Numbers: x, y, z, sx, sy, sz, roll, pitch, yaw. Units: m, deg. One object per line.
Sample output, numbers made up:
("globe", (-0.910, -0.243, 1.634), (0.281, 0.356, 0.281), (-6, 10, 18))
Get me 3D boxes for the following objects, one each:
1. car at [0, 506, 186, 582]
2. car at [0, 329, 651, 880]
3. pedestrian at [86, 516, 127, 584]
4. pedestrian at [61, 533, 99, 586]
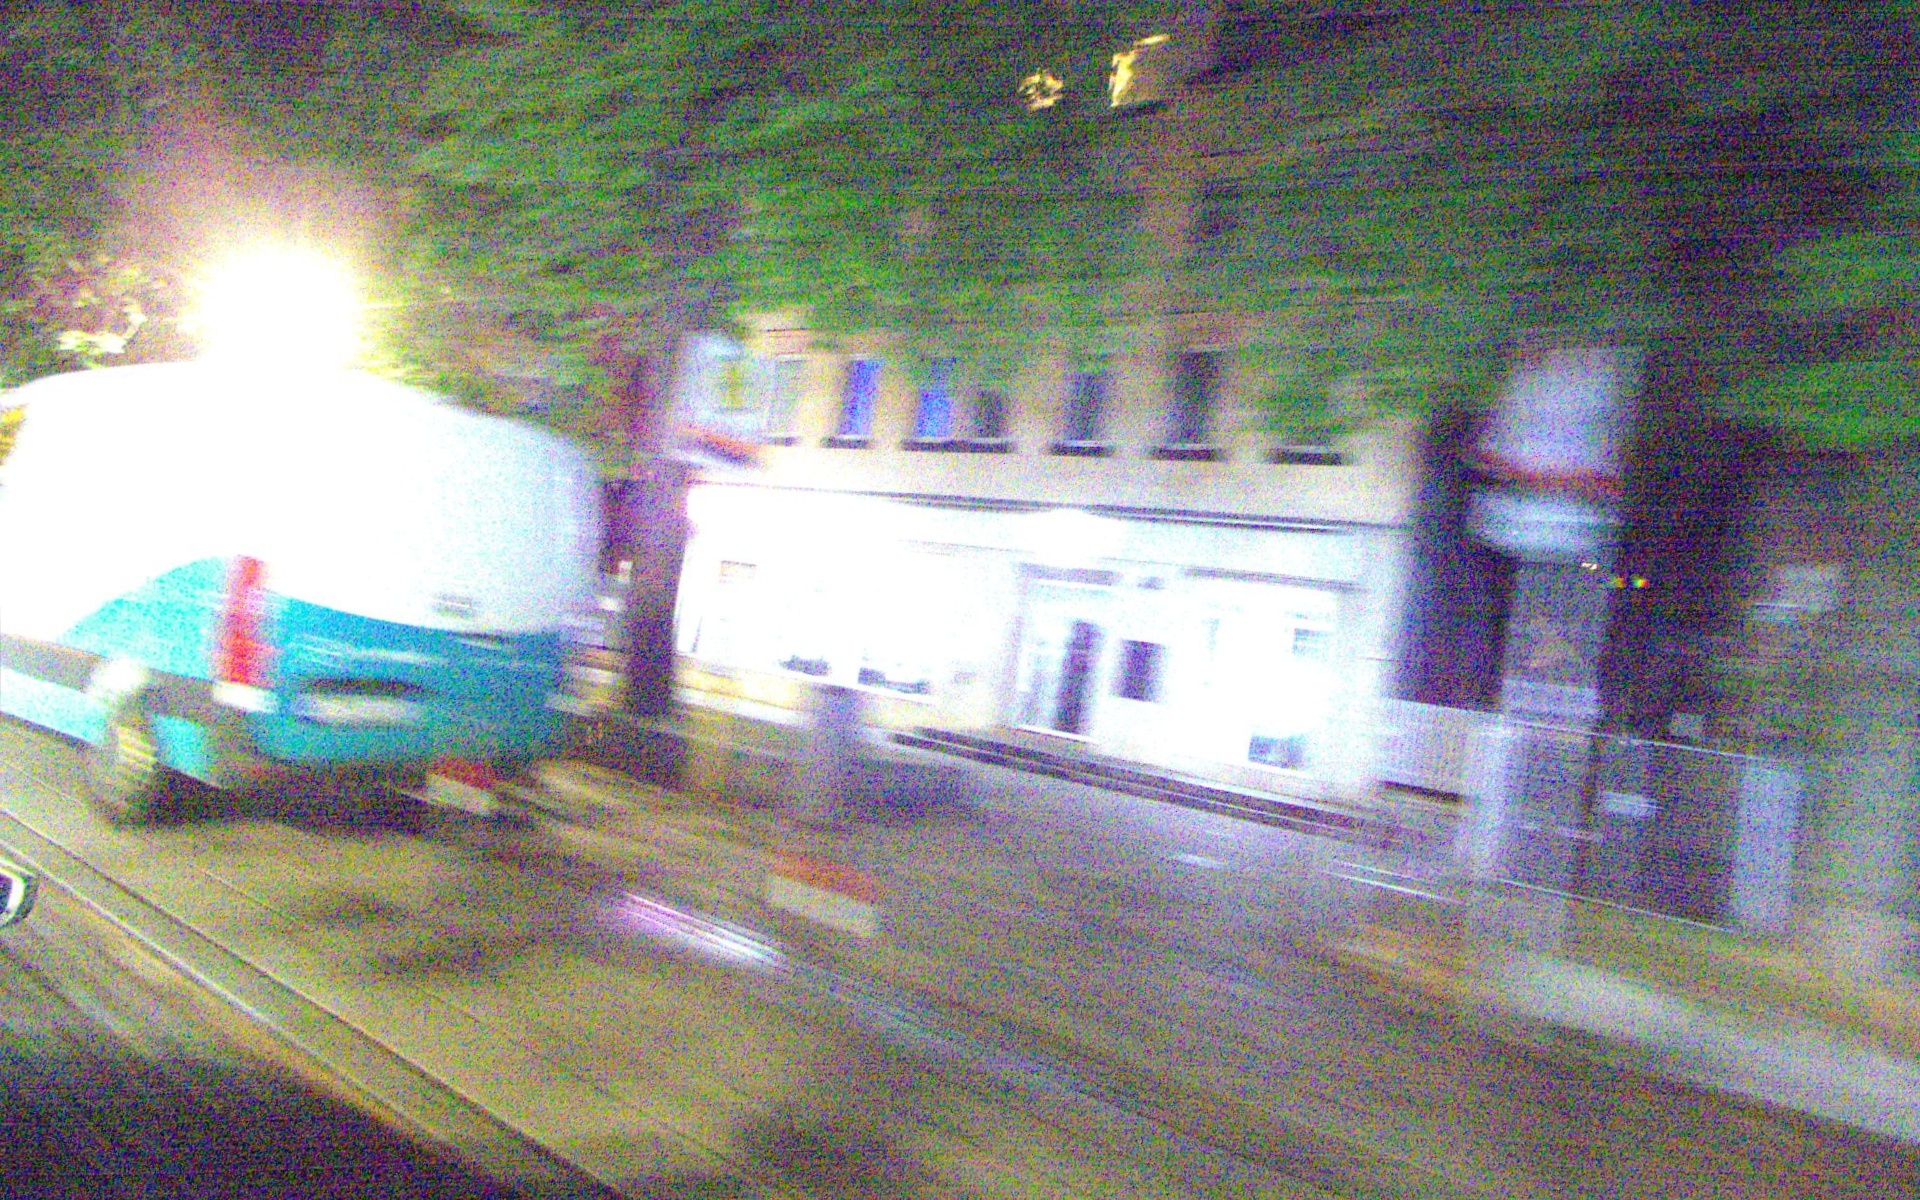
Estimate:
("car", (-26.851, -1.695, 30.970), (1.773, 1.548, 4.328), (6, -4, 30))
("car", (-4.734, -0.123, 6.478), (5.065, 2.352, 2.140), (7, -3, 31))
("pedestrian", (-21.191, -1.236, 24.985), (0.476, 1.605, 0.370), (9, -2, -23))
("pedestrian", (-20.794, -0.948, 23.775), (0.386, 1.181, 0.516), (9, -2, -23))
